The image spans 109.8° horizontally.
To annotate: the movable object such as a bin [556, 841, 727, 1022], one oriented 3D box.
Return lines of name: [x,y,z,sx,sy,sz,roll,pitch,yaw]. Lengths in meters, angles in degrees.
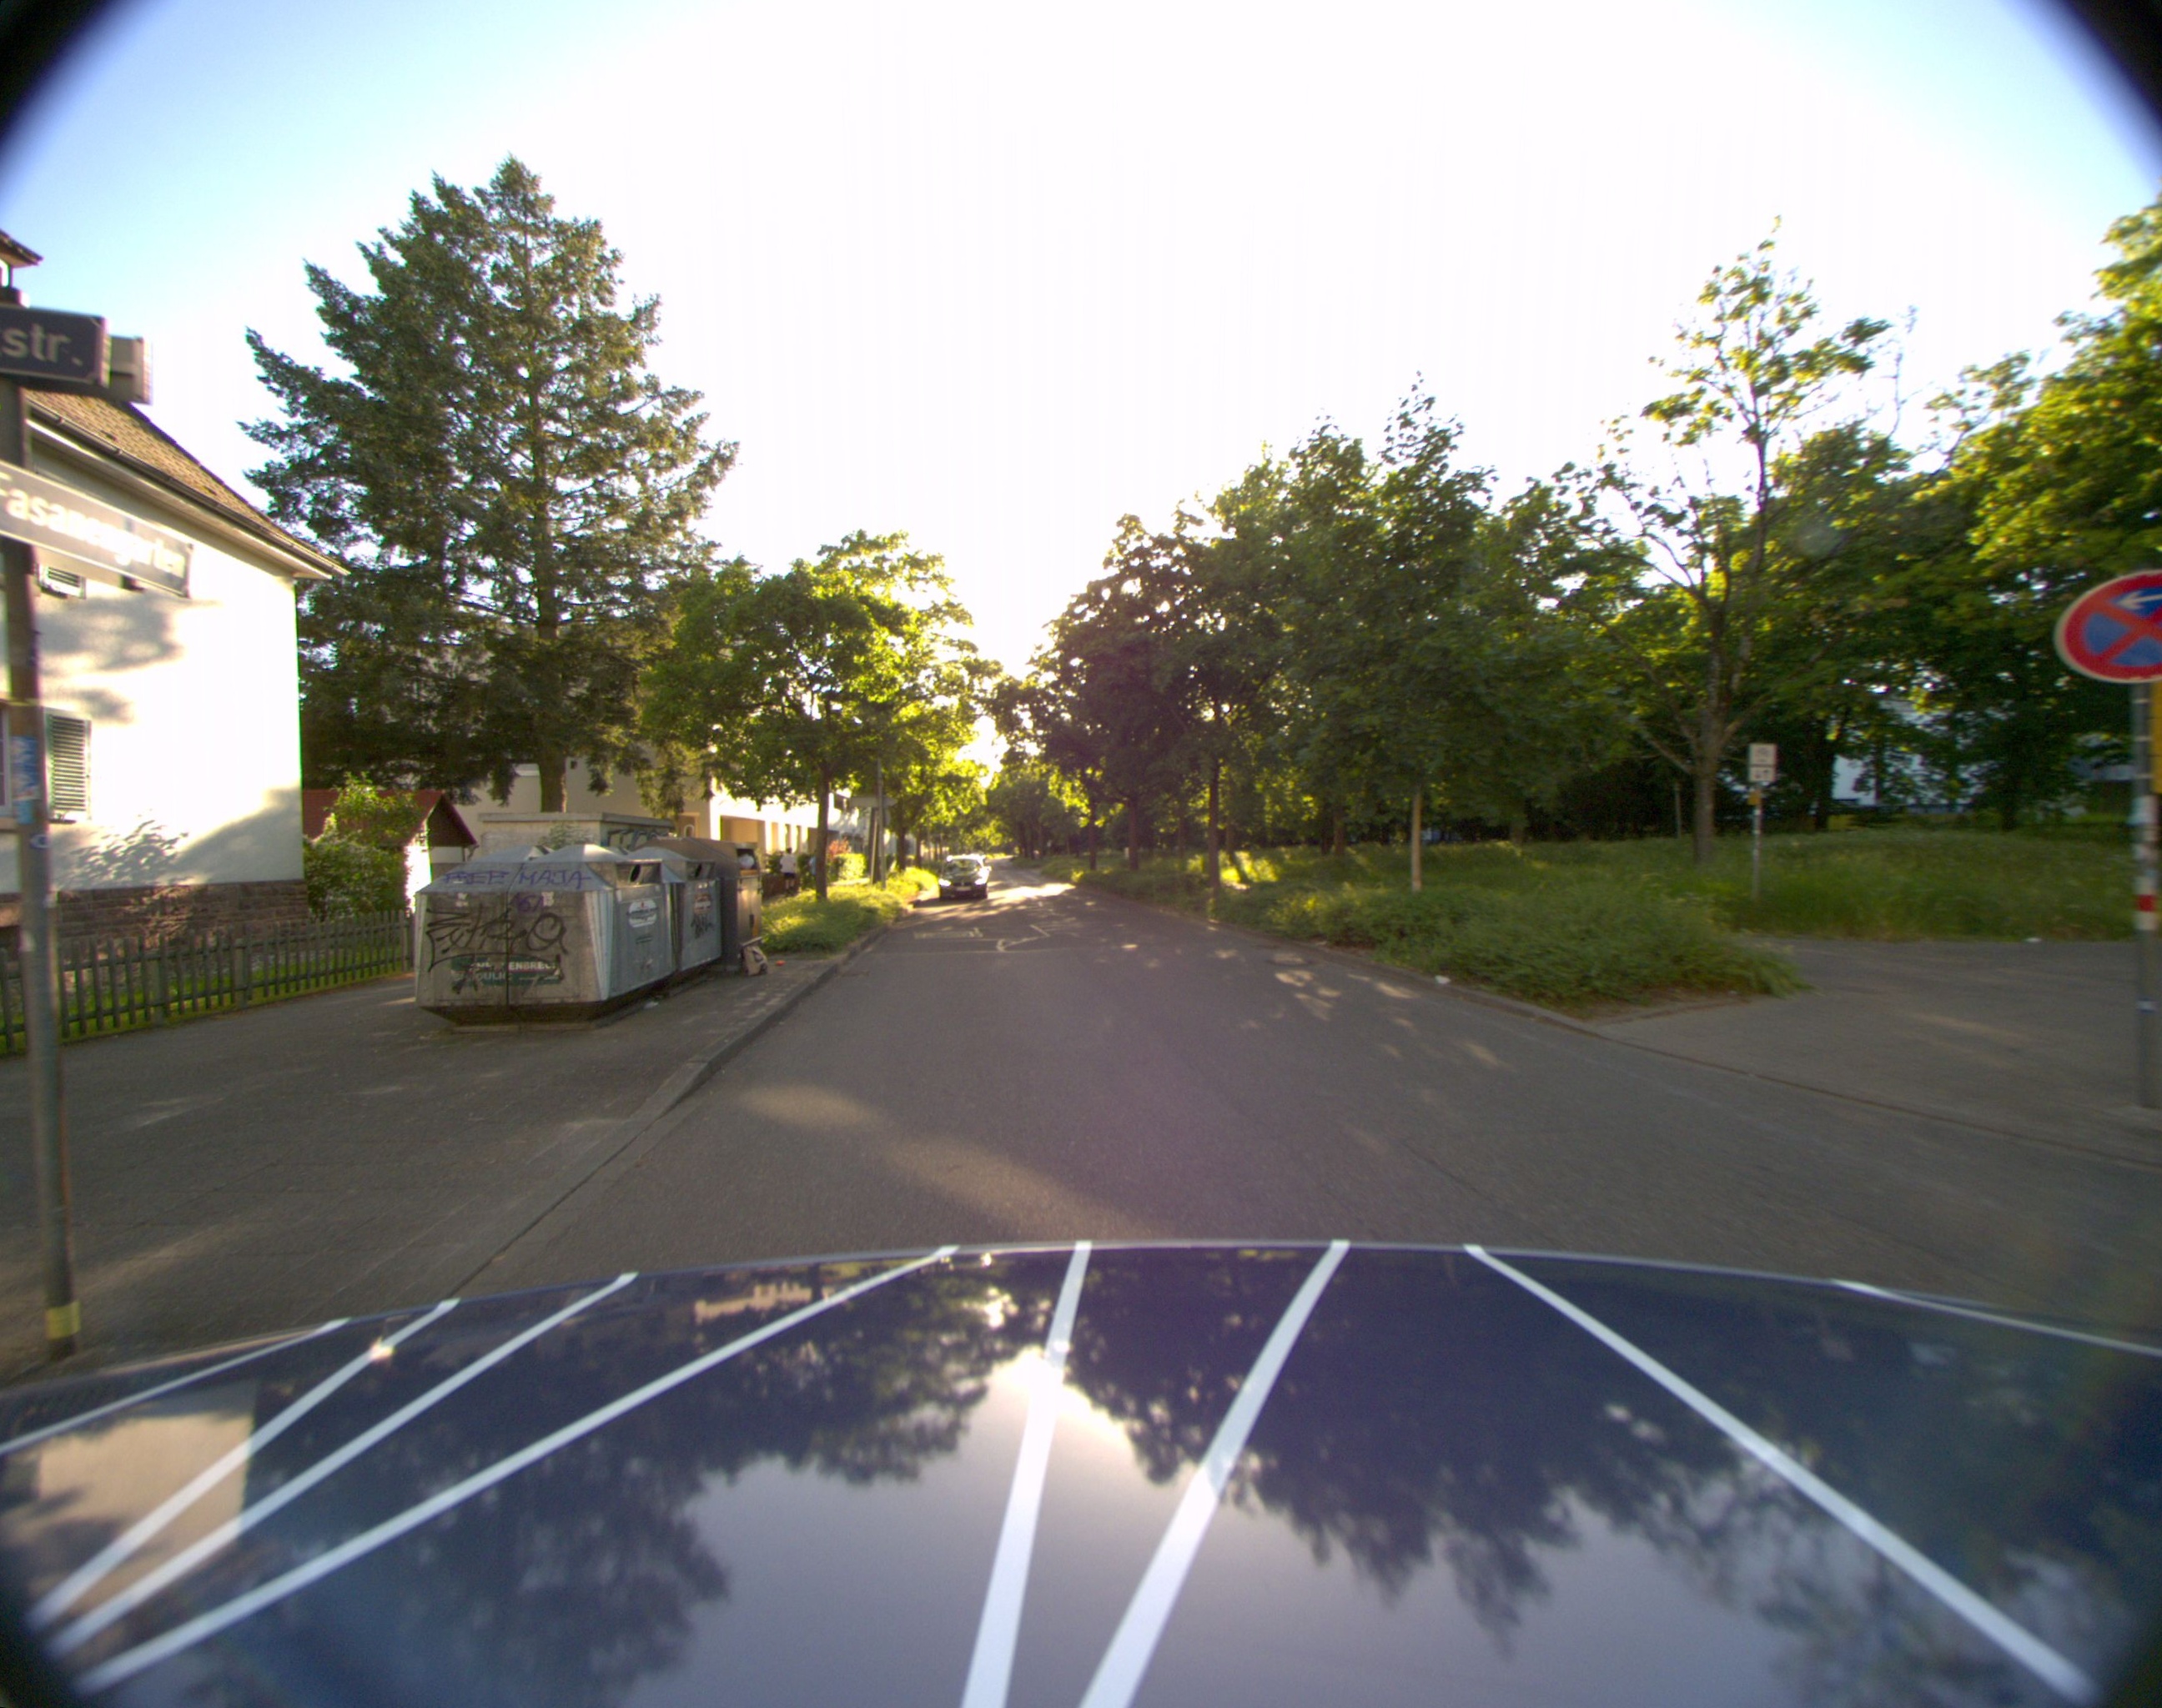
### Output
movable object such as a bin: [-4.887,0.793,8.597,1.151,1.817,1.385,-3,1,-8]

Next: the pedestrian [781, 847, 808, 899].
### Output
pedestrian: [-10.753,0.708,28.512,0.644,1.883,1.017,-3,1,-7]

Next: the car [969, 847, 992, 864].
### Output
car: [-9.509,0.134,72.112,1.999,1.531,3.997,-3,1,-6]

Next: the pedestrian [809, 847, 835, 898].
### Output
pedestrian: [-9.732,0.686,28.562,0.675,1.883,0.894,-3,2,-8]

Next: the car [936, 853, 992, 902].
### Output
car: [-4.529,0.822,29.403,1.891,1.613,4.614,-3,1,-9]

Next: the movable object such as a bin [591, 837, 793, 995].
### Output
movable object such as a bin: [-5.015,0.738,10.012,1.926,1.843,1.392,-3,1,-8]

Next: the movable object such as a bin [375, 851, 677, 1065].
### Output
movable object such as a bin: [-4.947,0.834,7.028,1.591,1.648,1.638,-3,1,-8]
